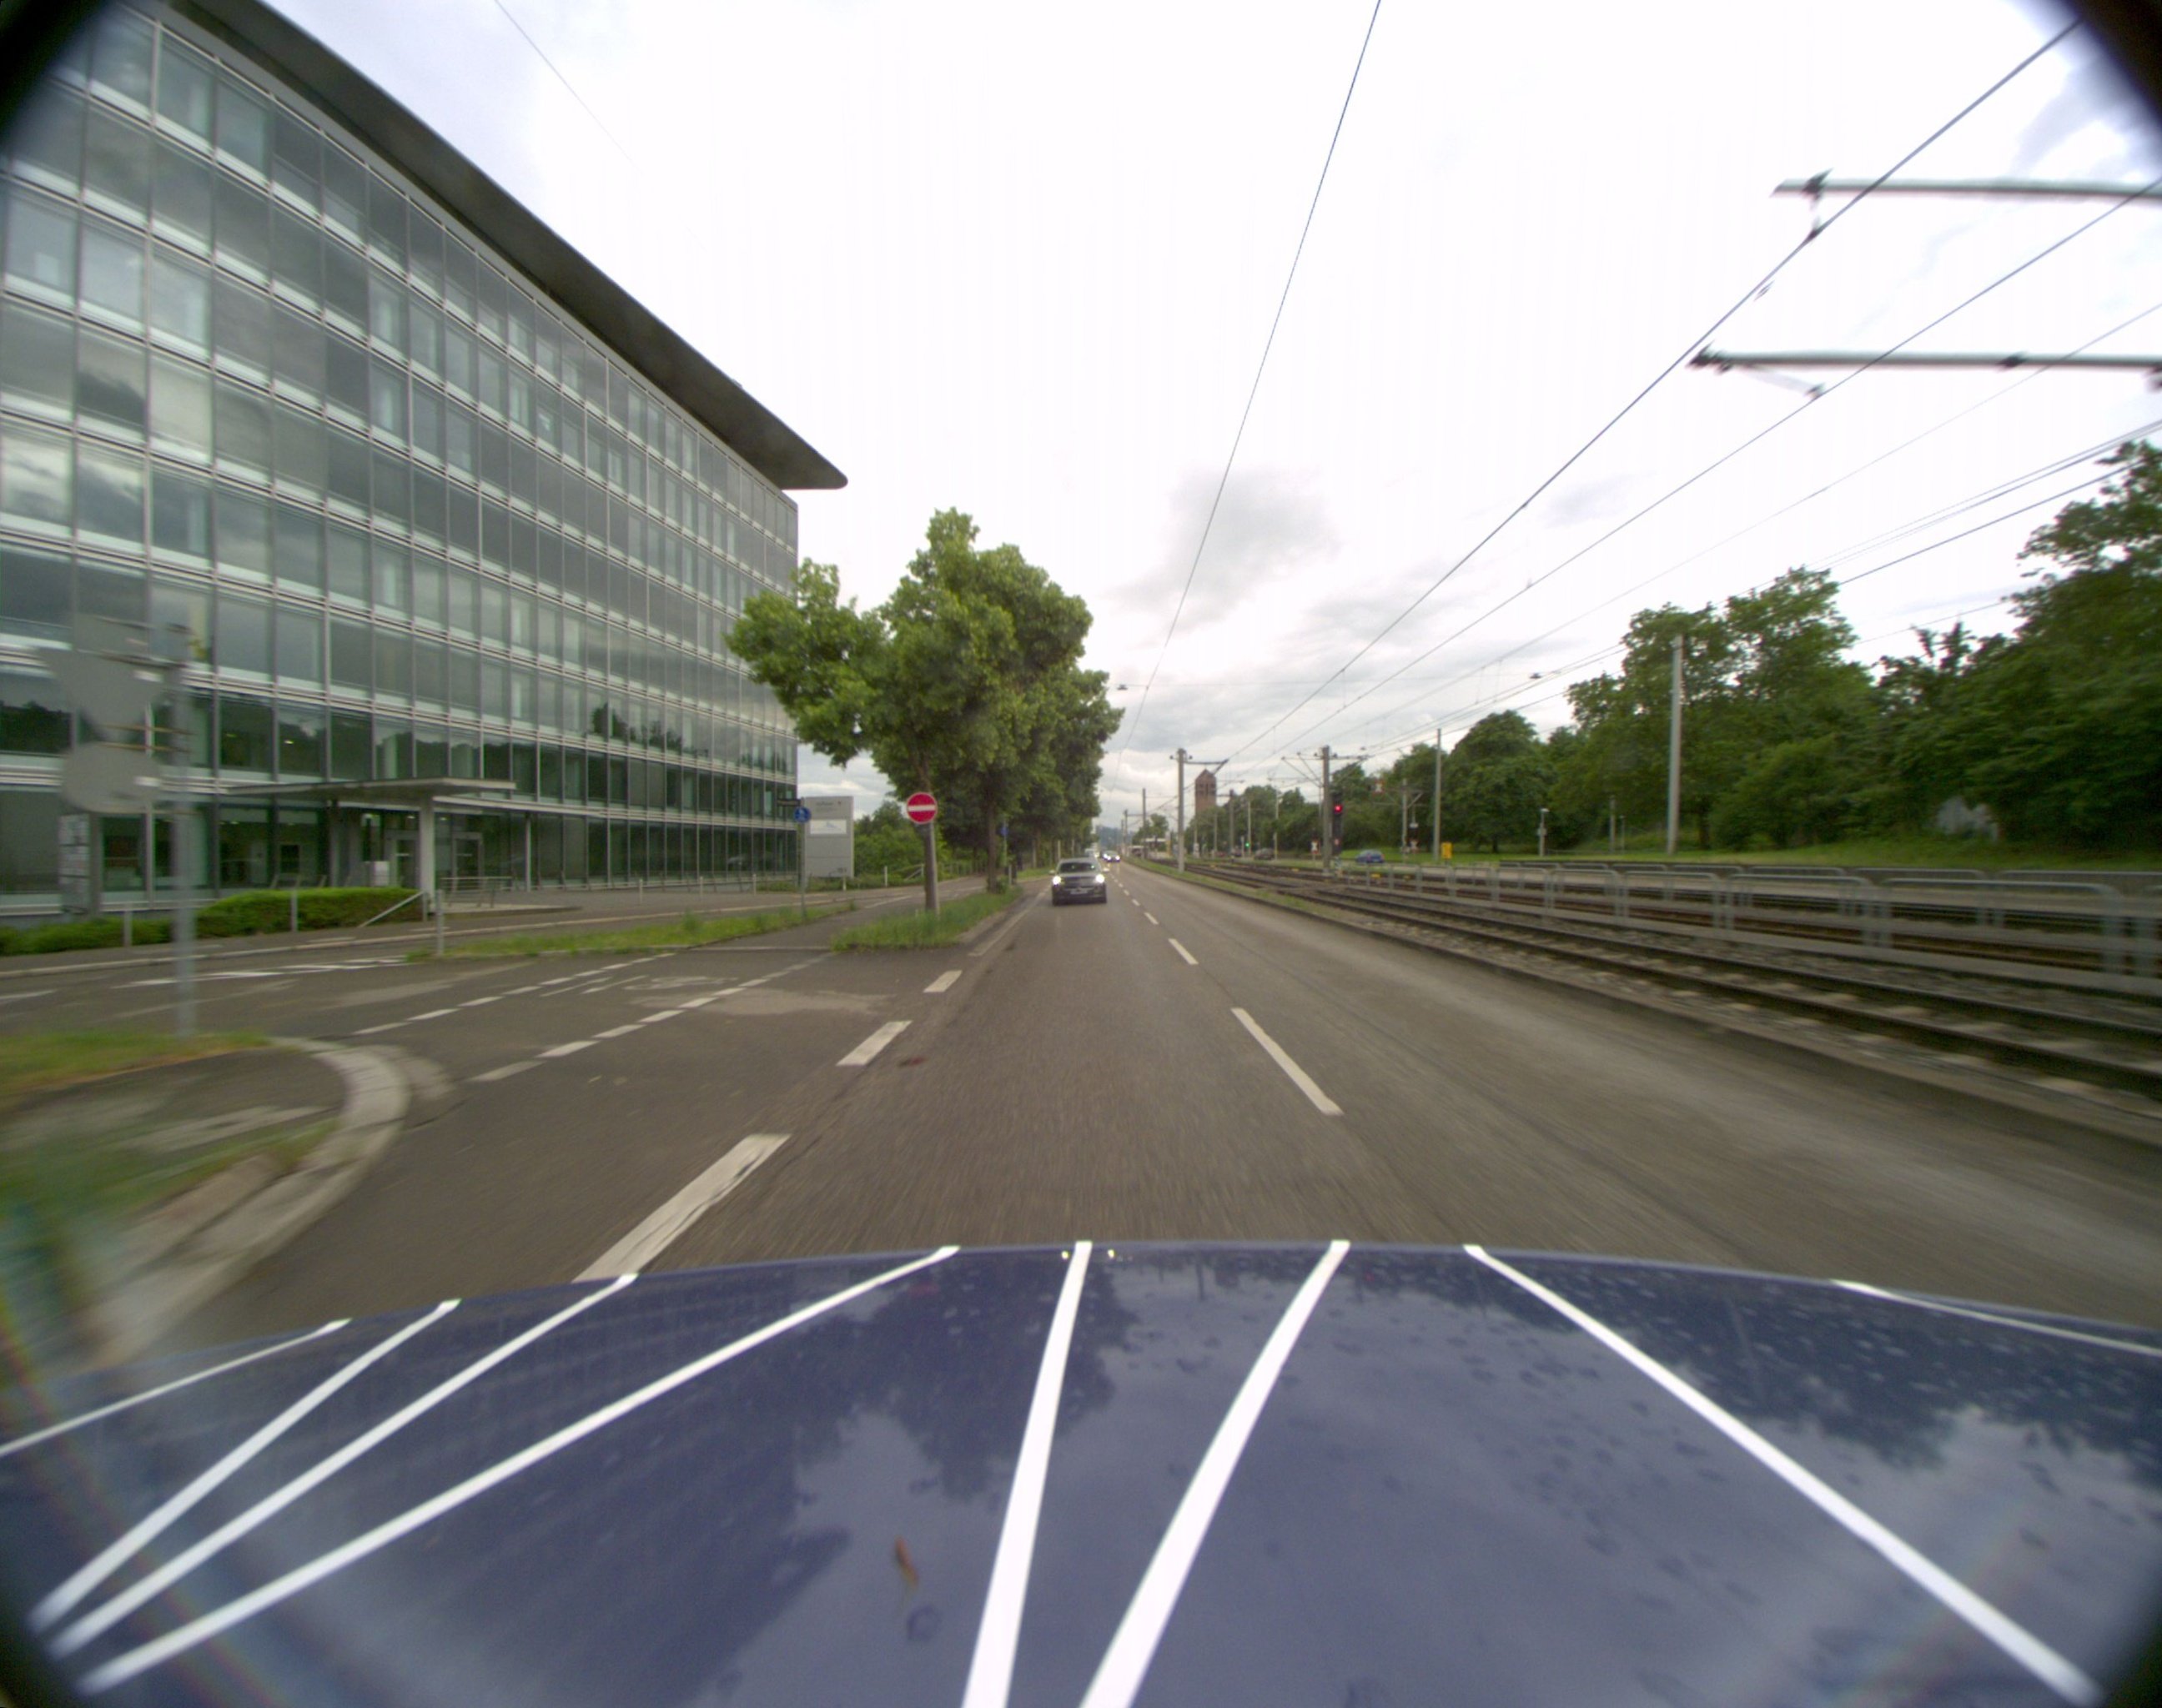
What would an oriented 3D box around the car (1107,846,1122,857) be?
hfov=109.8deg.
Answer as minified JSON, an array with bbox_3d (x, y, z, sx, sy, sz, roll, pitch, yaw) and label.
[{"bbox_3d":[4.405,-0.294,100.488,1.899,1.433,4.246,-1,0,1],"label":"car"}]

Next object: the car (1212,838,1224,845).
[{"bbox_3d":[28.803,-2.547,159.861,1.931,1.438,4.682,0,1,1],"label":"car"}]

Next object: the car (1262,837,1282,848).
[{"bbox_3d":[28.515,-1.781,113.502,1.952,1.586,4.847,0,1,4],"label":"car"}]

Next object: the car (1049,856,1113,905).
[{"bbox_3d":[0.050,0.804,25.135,1.899,1.433,4.473,-1,0,1],"label":"car"}]

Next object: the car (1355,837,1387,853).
[{"bbox_3d":[26.719,-0.847,70.109,1.765,1.389,3.901,0,1,4],"label":"car"}]

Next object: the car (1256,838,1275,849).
[{"bbox_3d":[25.313,-1.434,104.496,1.895,1.478,4.309,0,1,4],"label":"car"}]

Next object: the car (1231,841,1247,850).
[{"bbox_3d":[28.709,-1.603,138.443,2.094,1.580,5.158,0,1,3],"label":"car"}]

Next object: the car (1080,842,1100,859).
[{"bbox_3d":[0.916,-0.361,77.279,1.998,1.609,3.999,-1,1,1],"label":"car"}]

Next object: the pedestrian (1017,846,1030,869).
[{"bbox_3d":[-4.579,0.303,60.484,0.828,1.787,0.867,-1,2,2],"label":"pedestrian"}]
